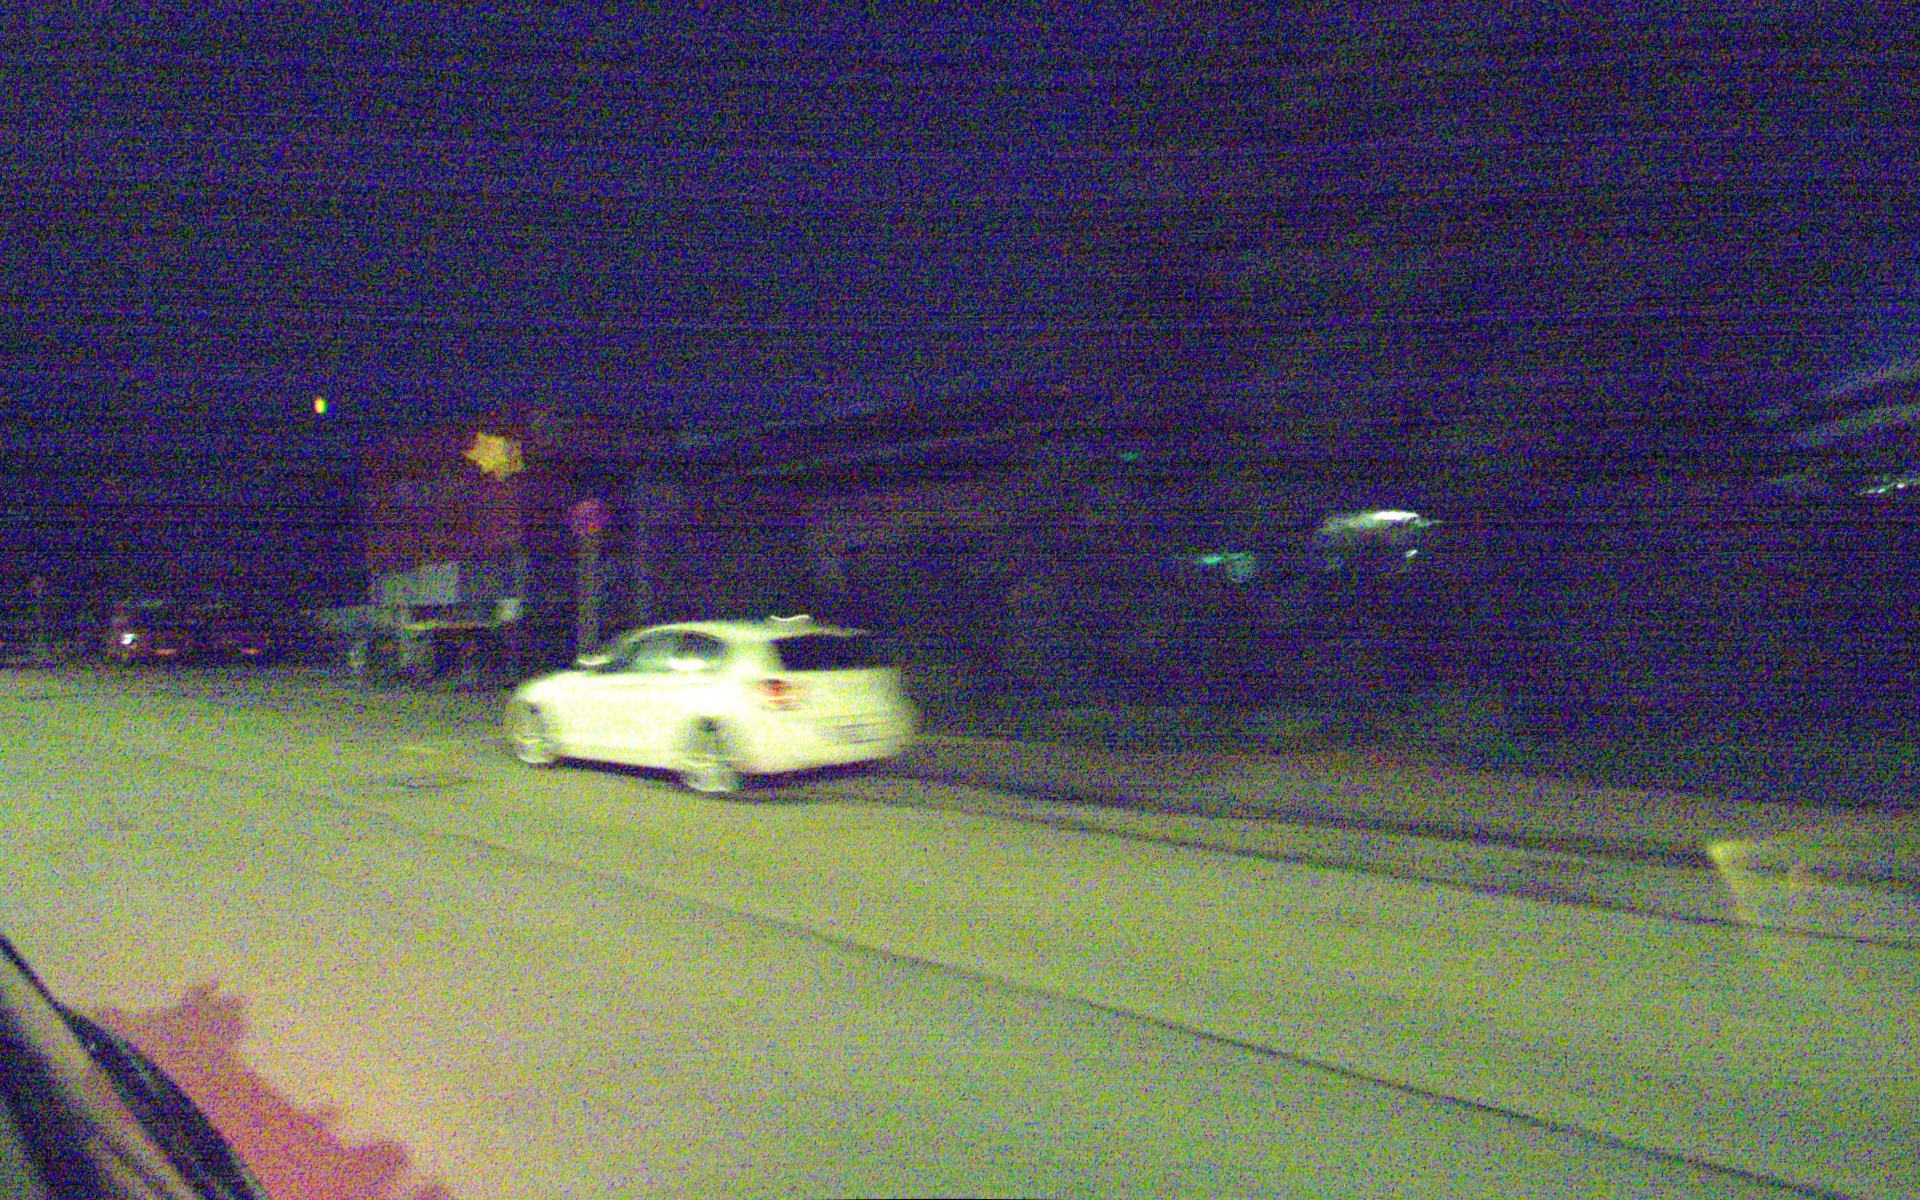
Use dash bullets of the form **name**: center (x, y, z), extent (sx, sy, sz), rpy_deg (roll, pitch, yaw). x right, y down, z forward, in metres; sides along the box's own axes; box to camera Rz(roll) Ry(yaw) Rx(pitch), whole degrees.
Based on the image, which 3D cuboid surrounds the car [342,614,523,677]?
- **car**: center (-14.190, 1.206, 27.401), extent (1.814, 1.583, 3.949), rpy_deg (-2, -2, 38)

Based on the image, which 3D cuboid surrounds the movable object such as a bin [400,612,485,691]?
- **movable object such as a bin**: center (-10.286, 1.004, 20.147), extent (1.063, 1.507, 1.154), rpy_deg (-2, -2, 35)

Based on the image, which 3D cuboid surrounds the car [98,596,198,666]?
- **car**: center (-29.117, 1.140, 36.235), extent (4.965, 2.339, 1.972), rpy_deg (-2, -3, 42)

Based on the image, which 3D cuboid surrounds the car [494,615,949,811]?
- **car**: center (-2.364, 0.880, 9.439), extent (4.333, 1.414, 1.892), rpy_deg (-2, -2, 39)

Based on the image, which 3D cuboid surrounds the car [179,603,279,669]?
- **car**: center (-27.985, 1.358, 38.692), extent (4.623, 2.339, 2.184), rpy_deg (-2, -2, 42)
